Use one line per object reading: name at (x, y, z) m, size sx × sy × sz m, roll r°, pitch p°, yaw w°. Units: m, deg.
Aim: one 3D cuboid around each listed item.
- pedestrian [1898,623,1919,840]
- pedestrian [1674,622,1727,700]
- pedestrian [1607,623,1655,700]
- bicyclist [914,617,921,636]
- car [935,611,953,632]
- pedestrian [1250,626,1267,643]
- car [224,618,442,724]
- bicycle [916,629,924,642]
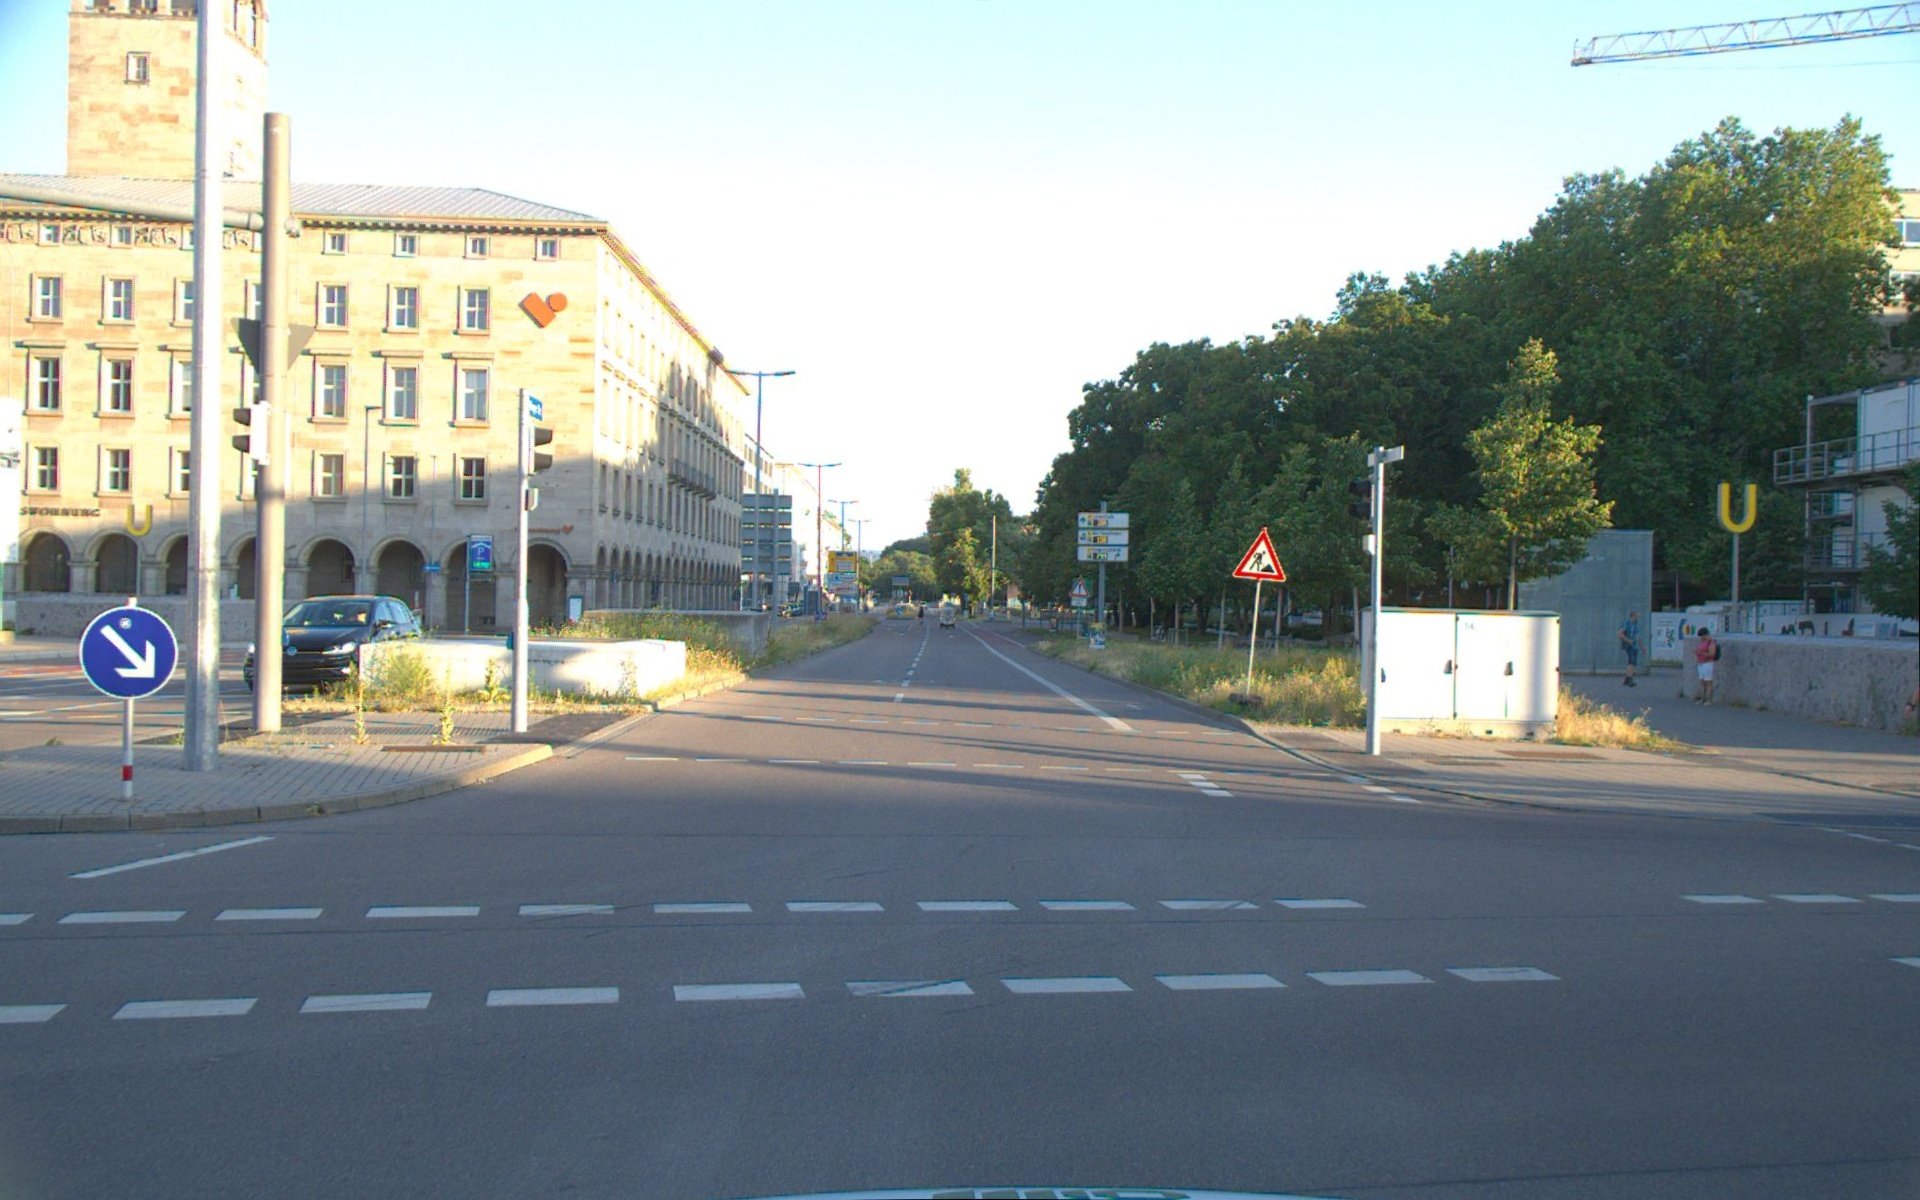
pedestrian at (9.034, 1.200, 15.048) m, size 0.629 × 1.967 × 0.619 m, roll 1°, pitch -1°, yaw 0°
pedestrian at (14.784, 1.206, 33.028) m, size 0.745 × 1.517 × 0.644 m, roll 1°, pitch 1°, yaw -2°
pedestrian at (16.572, 1.517, 40.863) m, size 0.797 × 1.847 × 1.047 m, roll 1°, pitch 0°, yaw 4°
bicyclist at (-3.818, 2.378, 147.681) m, size 0.615 × 1.723 × 0.748 m, roll 1°, pitch -2°, yaw -2°
car at (-1.339, 1.823, 140.666) m, size 1.429 × 1.812 × 2.564 m, roll 1°, pitch 0°, yaw 1°
pedestrian at (16.648, 1.938, 92.229) m, size 0.671 × 0.900 × 0.588 m, roll 5°, pitch -1°, yaw -26°
car at (-9.733, 1.060, 26.092) m, size 1.849 × 1.491 × 4.535 m, roll 1°, pitch -1°, yaw -3°
bicycle at (-3.578, 3.150, 147.976) m, size 0.624 × 1.087 × 2.068 m, roll 1°, pitch 0°, yaw -1°
